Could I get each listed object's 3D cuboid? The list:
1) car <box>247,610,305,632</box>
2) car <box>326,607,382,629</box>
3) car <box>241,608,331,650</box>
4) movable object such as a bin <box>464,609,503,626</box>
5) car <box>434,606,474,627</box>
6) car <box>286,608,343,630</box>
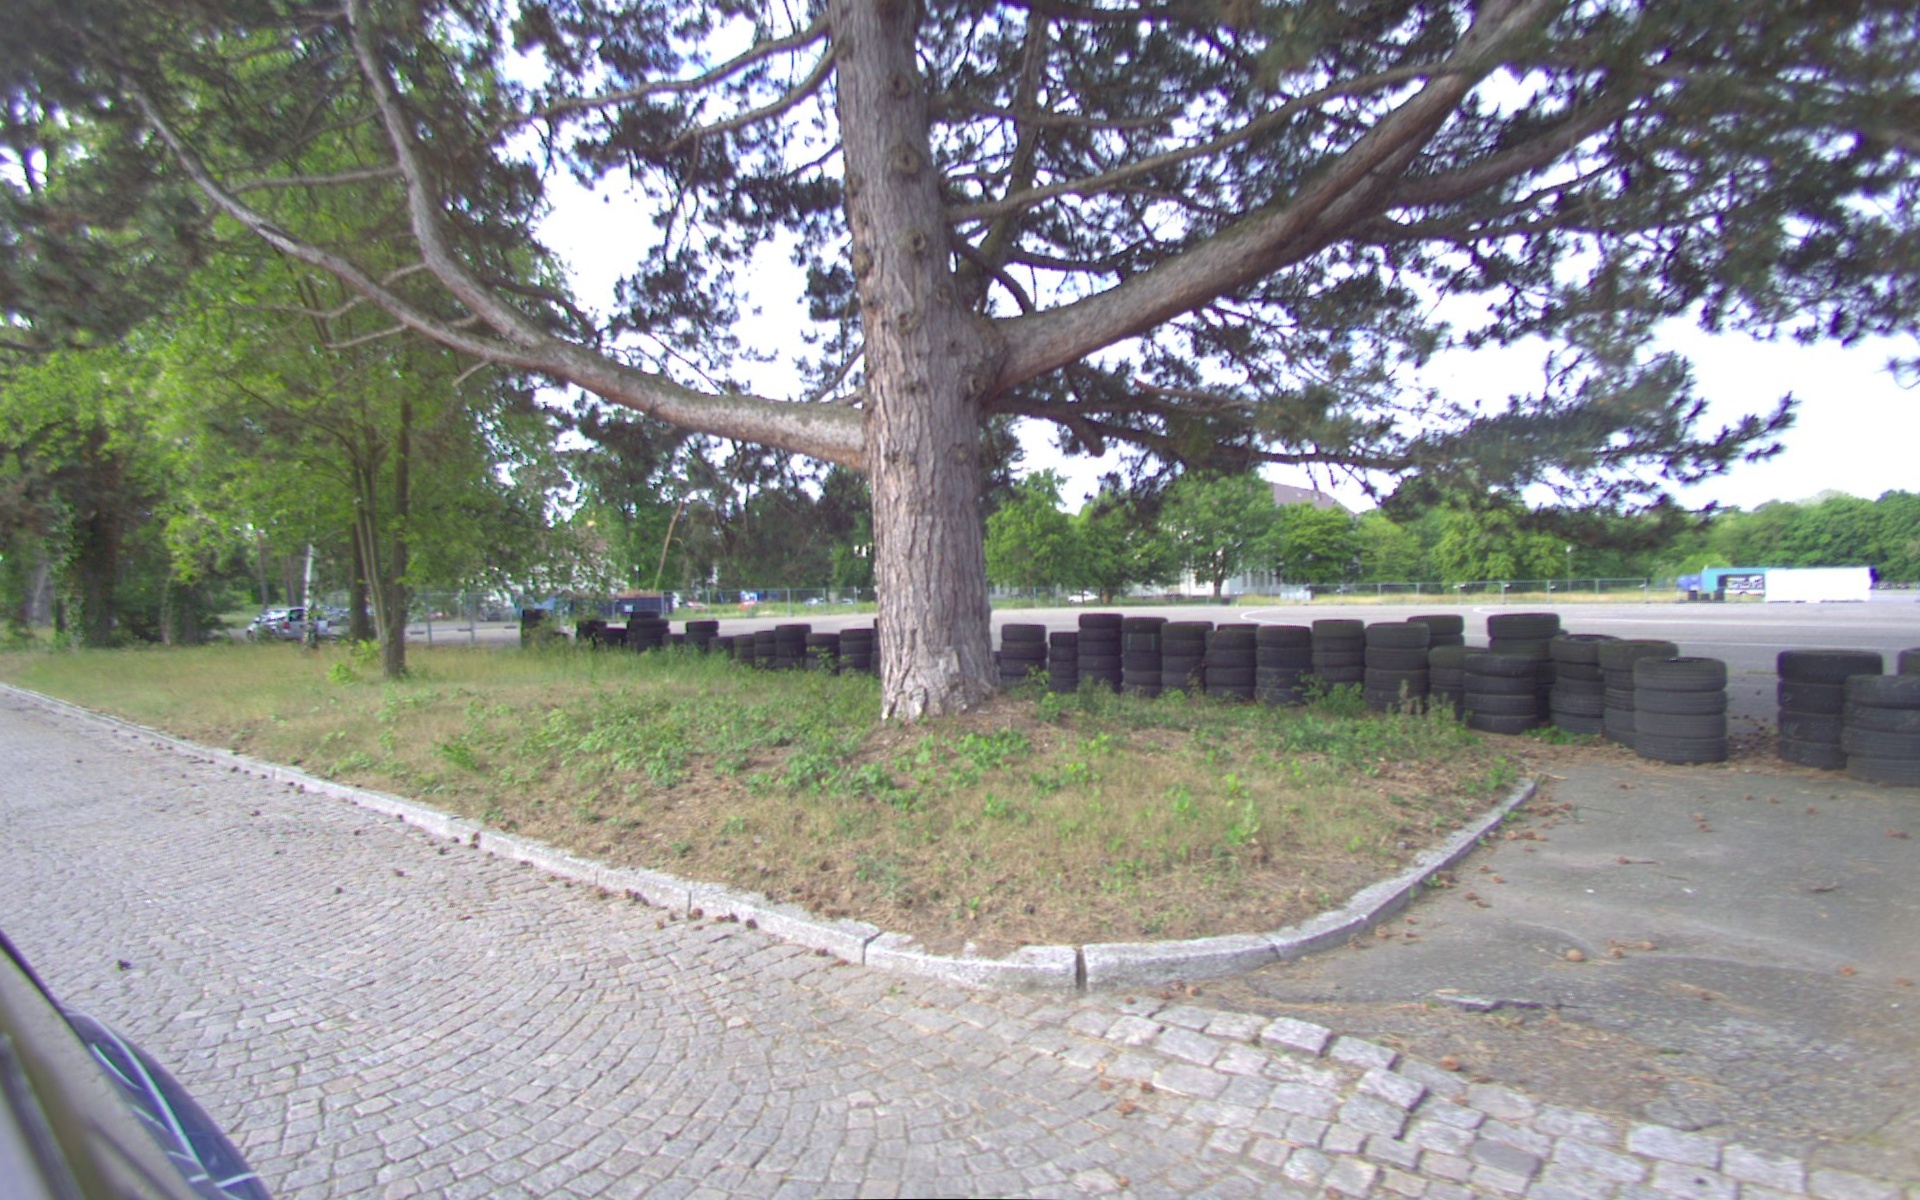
[{"bbox_3d":[-46.702,1.427,69.062,4.446,1.460,1.975,-1,0,37],"label":"car"},{"bbox_3d":[-43.914,1.312,73.291,4.446,1.460,1.975,-1,0,37],"label":"car"},{"bbox_3d":[-24.635,1.053,36.951,3.719,1.421,1.649,-1,0,38],"label":"car"},{"bbox_3d":[-32.136,1.159,68.245,2.712,1.079,1.046,-1,0,32],"label":"movable object such as a bin"},{"bbox_3d":[-44.561,1.456,89.112,3.796,1.696,1.593,-1,0,36],"label":"car"},{"bbox_3d":[-45.476,1.371,71.273,4.446,1.460,1.975,-1,0,37],"label":"car"}]
